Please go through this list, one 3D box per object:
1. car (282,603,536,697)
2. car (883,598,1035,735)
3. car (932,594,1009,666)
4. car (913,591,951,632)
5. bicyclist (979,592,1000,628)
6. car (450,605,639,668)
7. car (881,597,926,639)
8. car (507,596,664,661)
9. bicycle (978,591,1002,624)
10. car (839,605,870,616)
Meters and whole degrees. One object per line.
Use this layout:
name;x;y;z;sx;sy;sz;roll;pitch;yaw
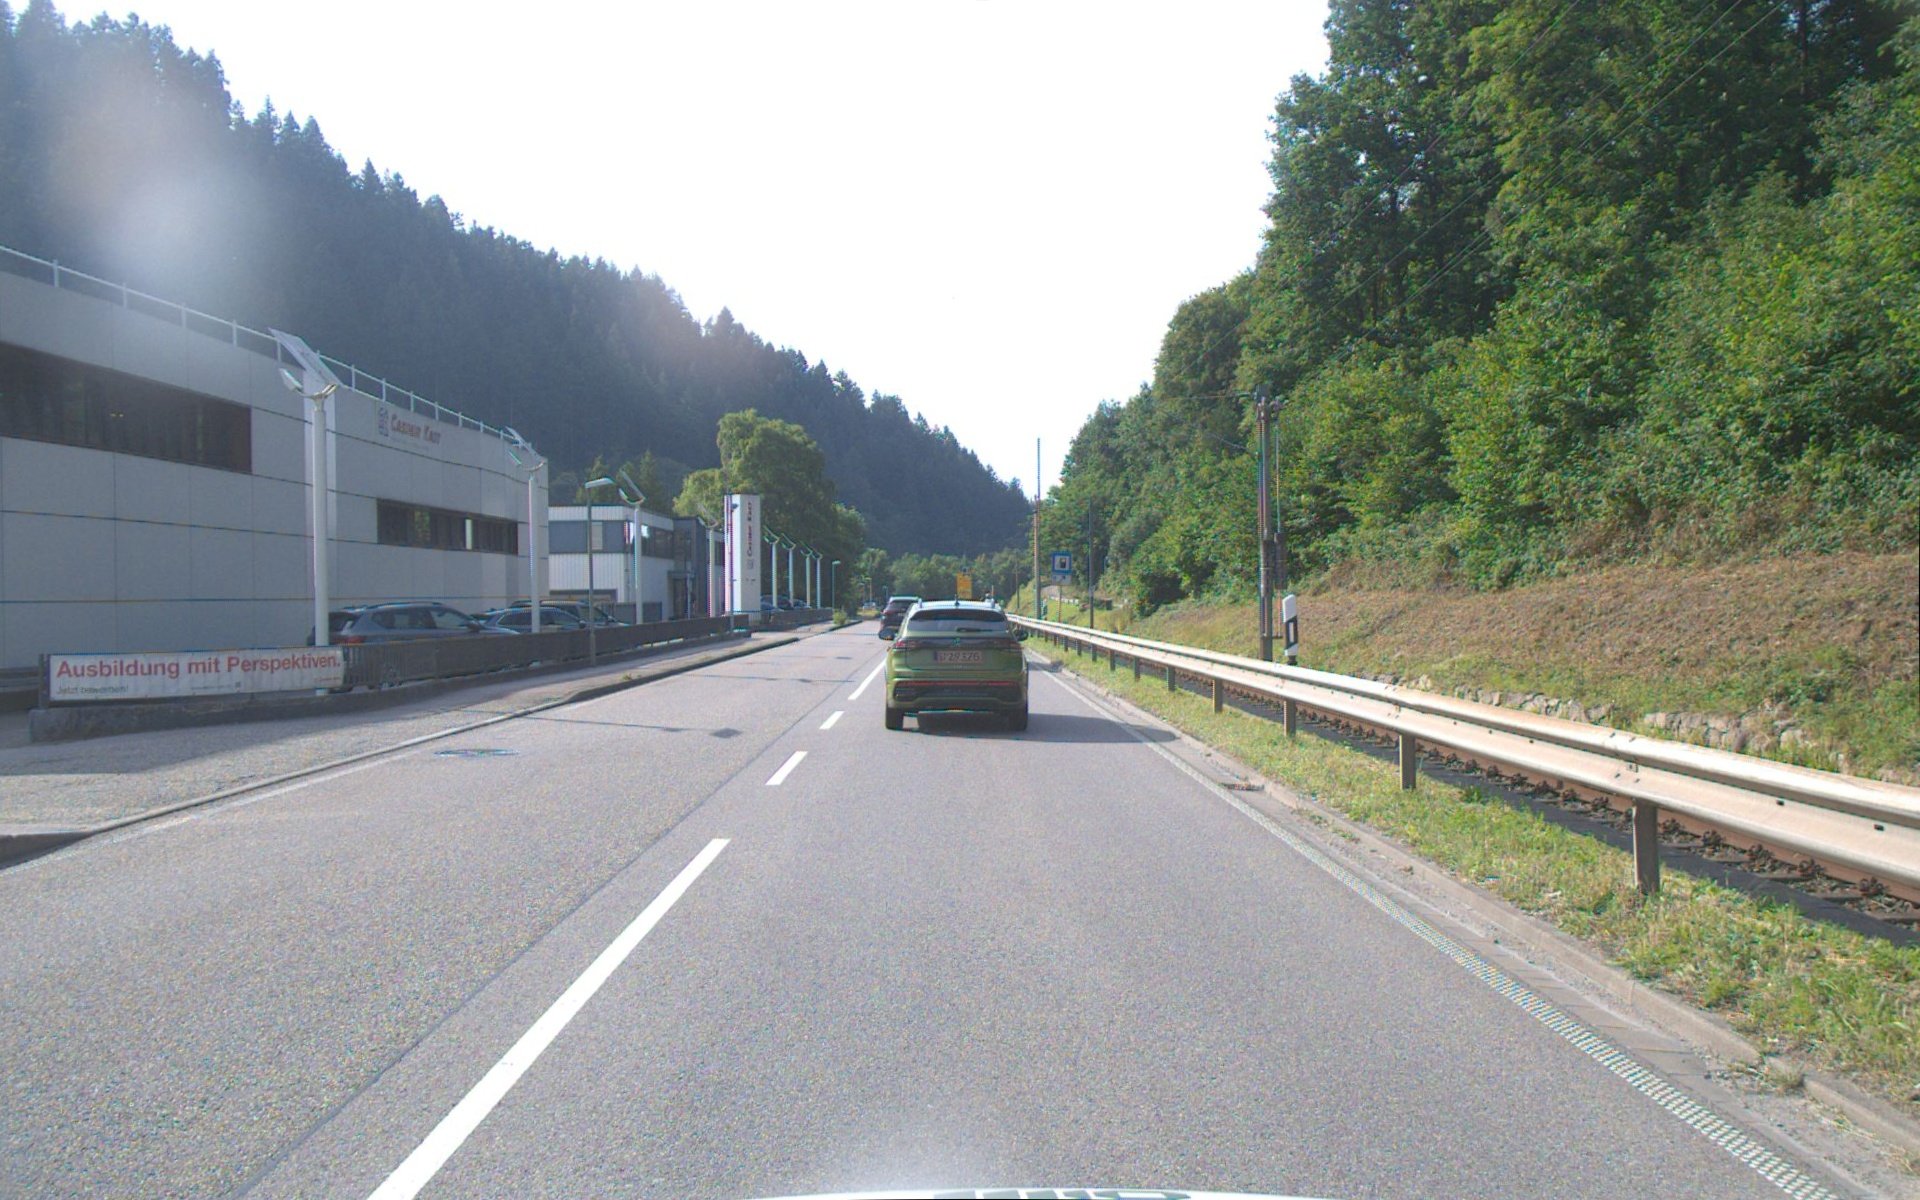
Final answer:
car;-10.178;0.877;30.779;1.854;1.619;4.152;0;0;40
car;-0.065;0.749;20.571;1.704;1.534;3.999;0;0;-2
car;0.210;0.685;39.582;1.704;1.630;3.999;0;0;-2
car;-1.447;0.578;86.072;1.953;2.049;3.999;0;0;-1
bicyclist;1.178;0.412;66.186;0.766;1.436;0.674;0;0;-3
car;-10.526;0.881;42.168;1.854;1.521;4.464;0;0;40
car;-2.247;0.705;66.164;1.704;1.630;3.999;0;0;-2
car;-10.412;0.771;46.222;1.749;1.738;4.088;0;0;40
bicycle;1.187;0.288;66.029;0.795;1.272;2.121;0;0;-3
car;-14.512;1.411;228.410;4.172;1.458;1.557;0;0;0
